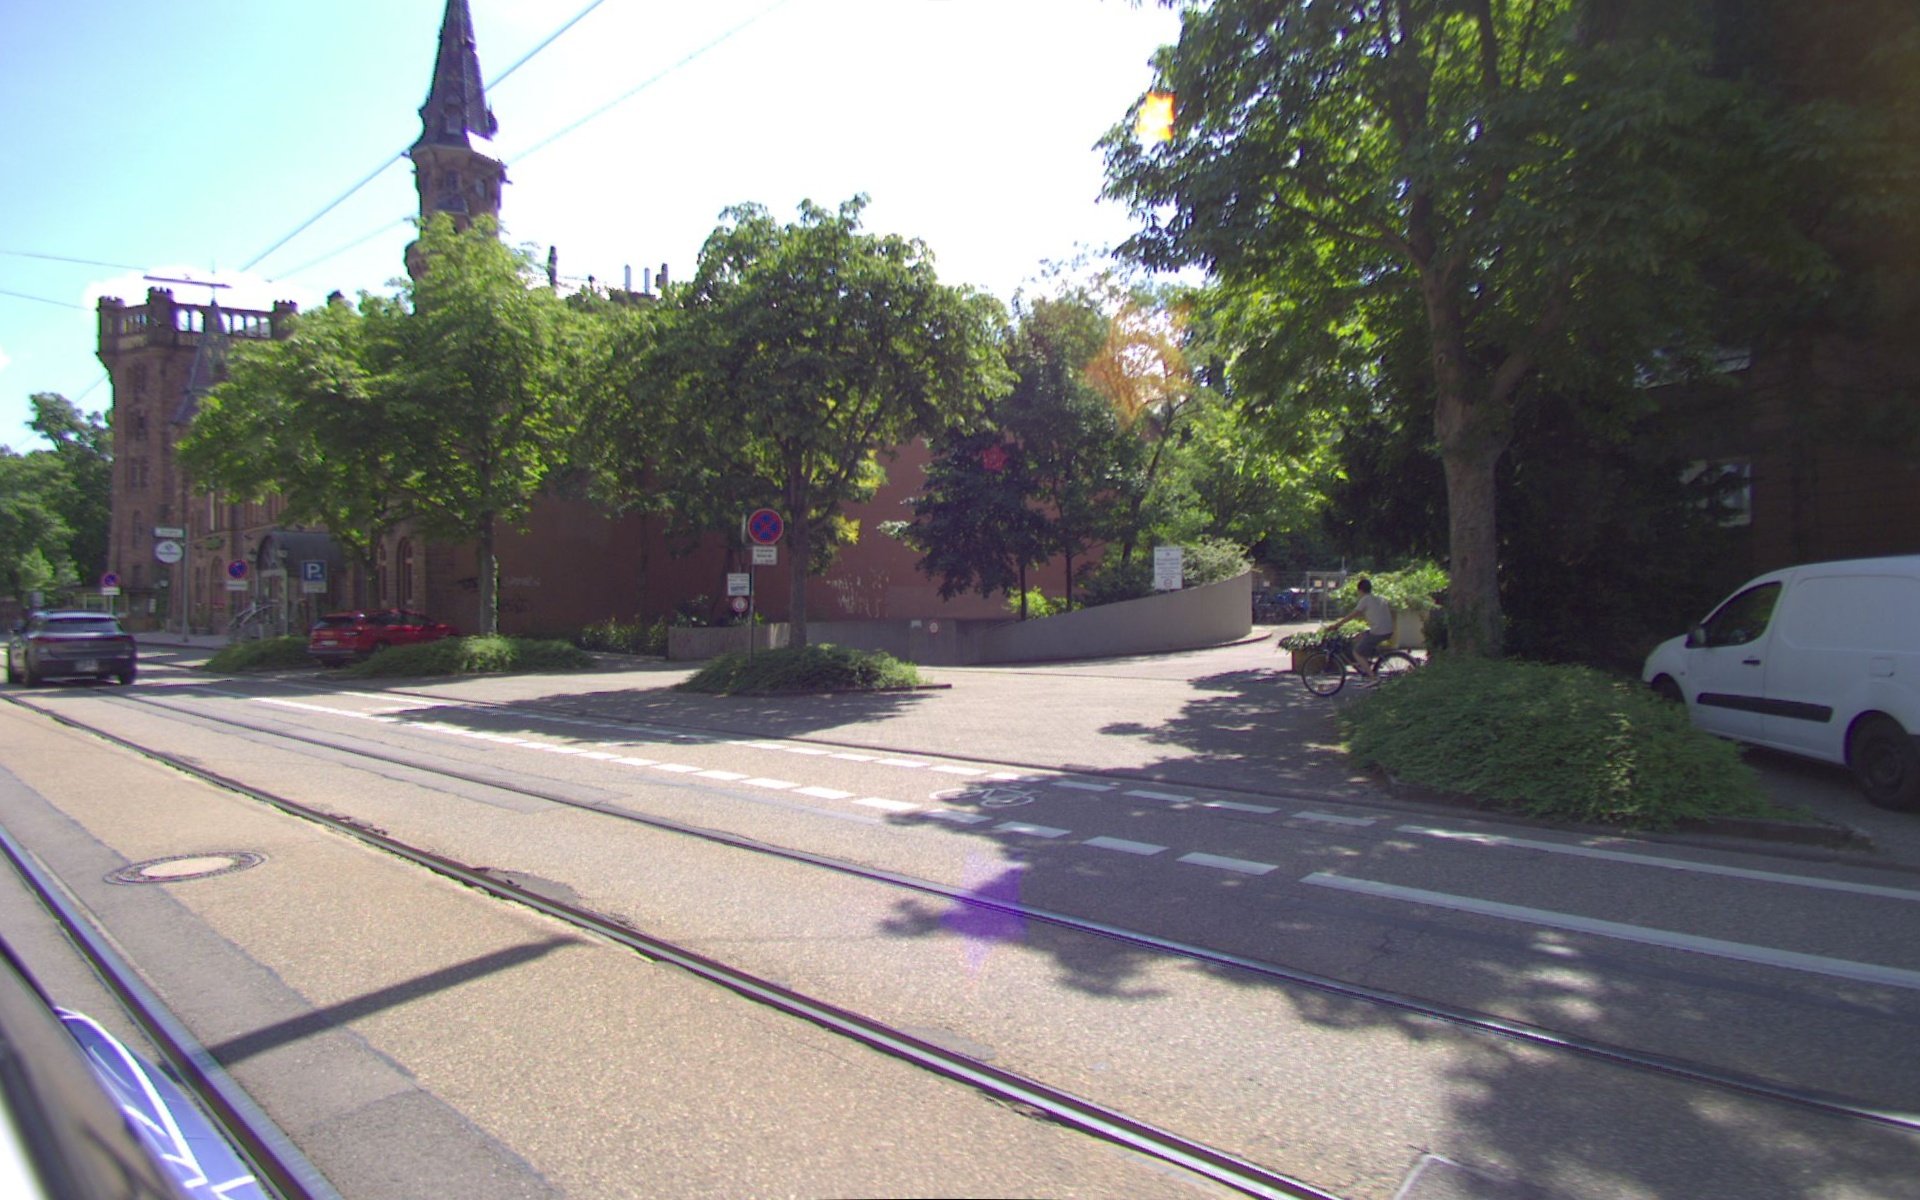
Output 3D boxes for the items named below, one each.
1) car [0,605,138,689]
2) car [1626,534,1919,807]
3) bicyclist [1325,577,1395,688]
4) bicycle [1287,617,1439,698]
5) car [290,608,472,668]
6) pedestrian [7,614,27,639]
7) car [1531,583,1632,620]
[{"bbox_3d":[-19.908,0.977,22.527,4.182,1.693,1.812,-1,-1,41],"label":"car"},{"bbox_3d":[7.469,0.425,7.994,1.879,1.804,4.537,-2,1,8],"label":"car"},{"bbox_3d":[5.558,0.445,14.070,0.780,1.492,0.476,-1,0,39],"label":"bicyclist"},{"bbox_3d":[5.576,0.774,14.070,1.874,1.054,0.513,-1,0,39],"label":"bicycle"},{"bbox_3d":[-16.860,1.057,29.777,1.981,1.578,4.762,-1,0,12],"label":"car"},{"bbox_3d":[-63.343,1.799,67.968,0.919,1.600,0.791,-1,2,41],"label":"pedestrian"},{"bbox_3d":[32.357,0.097,52.763,1.966,1.796,4.011,-2,1,-33],"label":"car"}]
